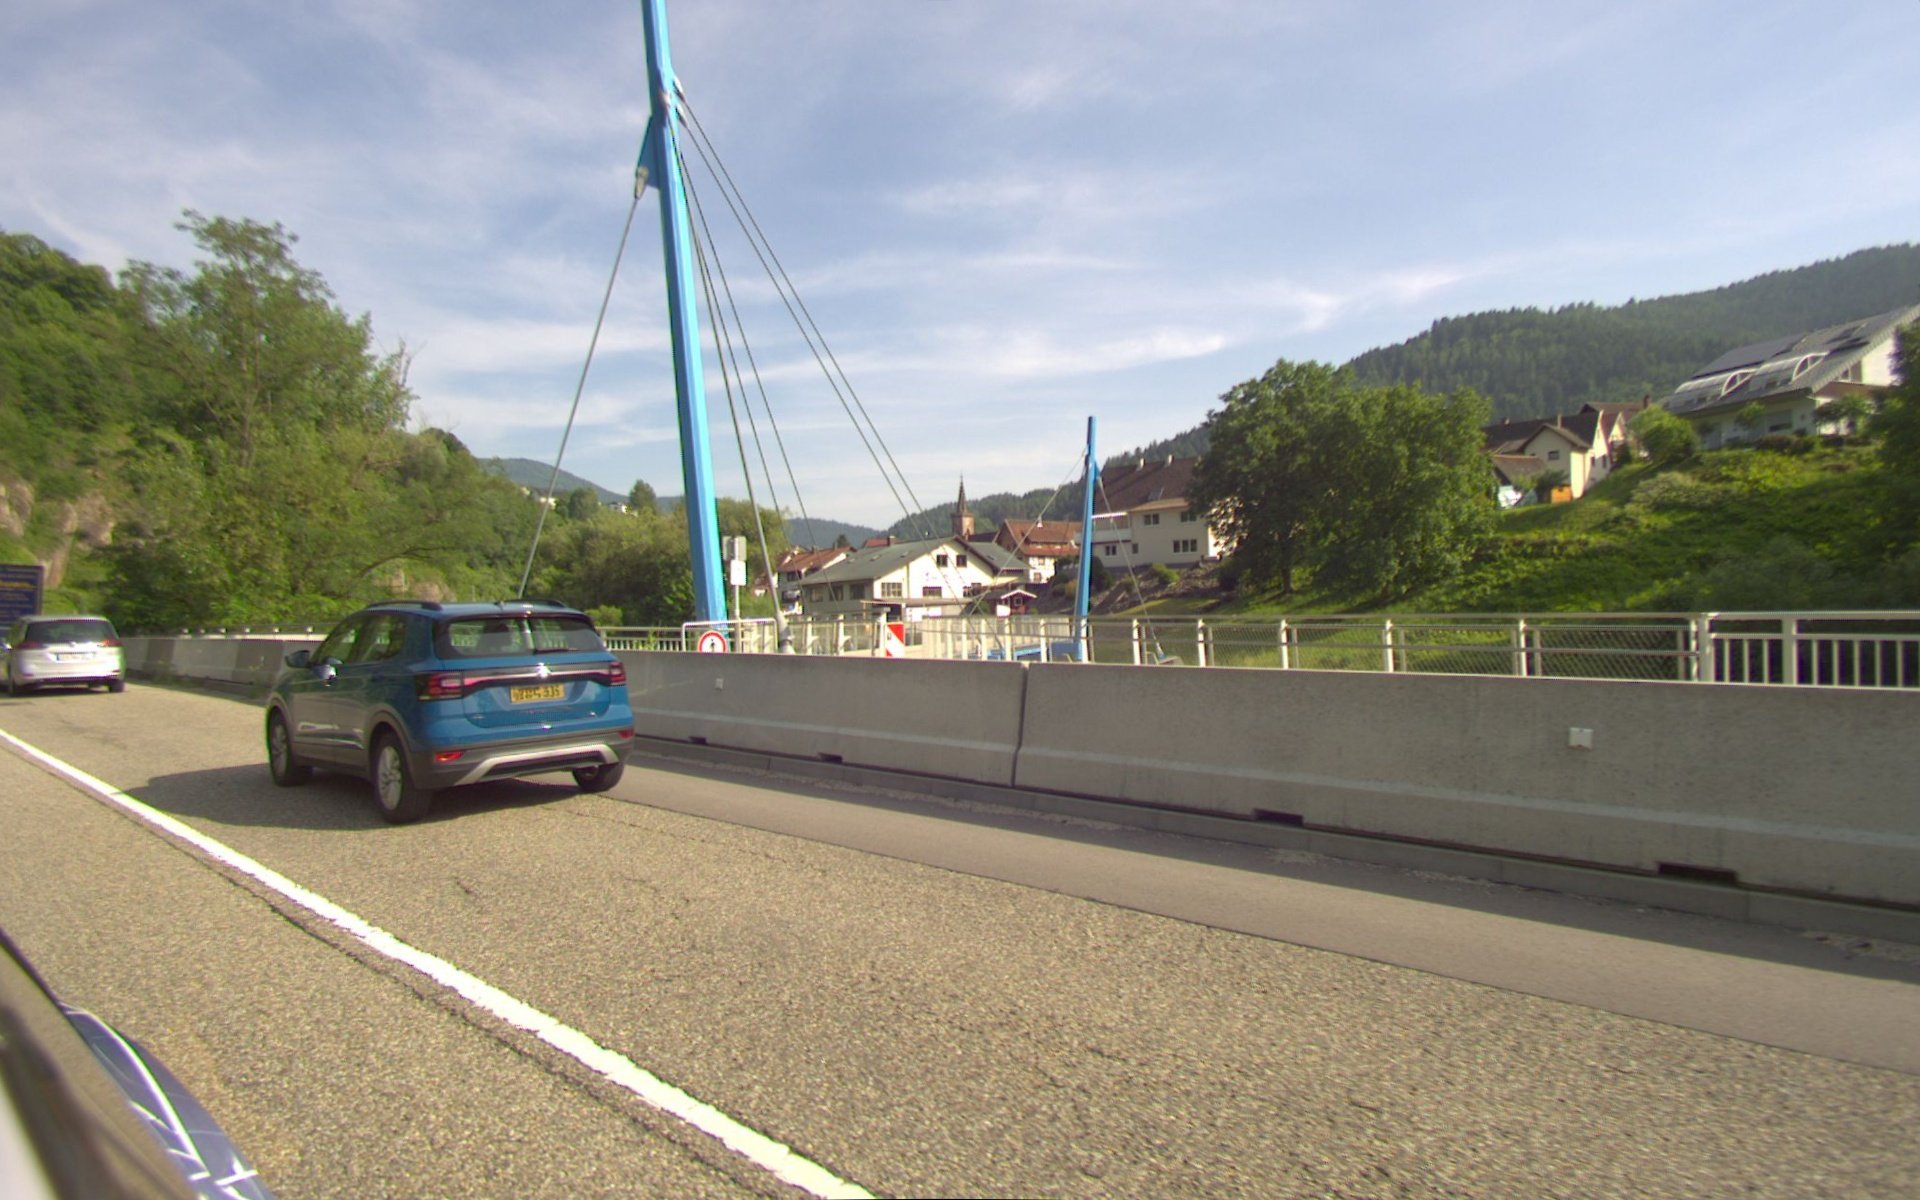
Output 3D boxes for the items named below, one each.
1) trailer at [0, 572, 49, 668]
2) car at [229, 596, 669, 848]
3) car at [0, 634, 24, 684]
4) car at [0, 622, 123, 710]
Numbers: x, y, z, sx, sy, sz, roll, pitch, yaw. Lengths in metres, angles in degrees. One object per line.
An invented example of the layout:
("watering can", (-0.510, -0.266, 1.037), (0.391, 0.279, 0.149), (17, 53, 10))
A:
("trailer", (-45.506, 0.998, 47.657), (13.674, 4.043, 2.824), (-2, -3, 44))
("car", (-4.430, 0.807, 8.453), (4.329, 1.568, 1.780), (-2, -1, 41))
("car", (-31.830, 1.877, 32.811), (4.936, 1.507, 1.817), (-1, -1, 43))
("car", (-19.469, 1.329, 21.598), (4.645, 1.683, 1.754), (-2, -2, 42))
